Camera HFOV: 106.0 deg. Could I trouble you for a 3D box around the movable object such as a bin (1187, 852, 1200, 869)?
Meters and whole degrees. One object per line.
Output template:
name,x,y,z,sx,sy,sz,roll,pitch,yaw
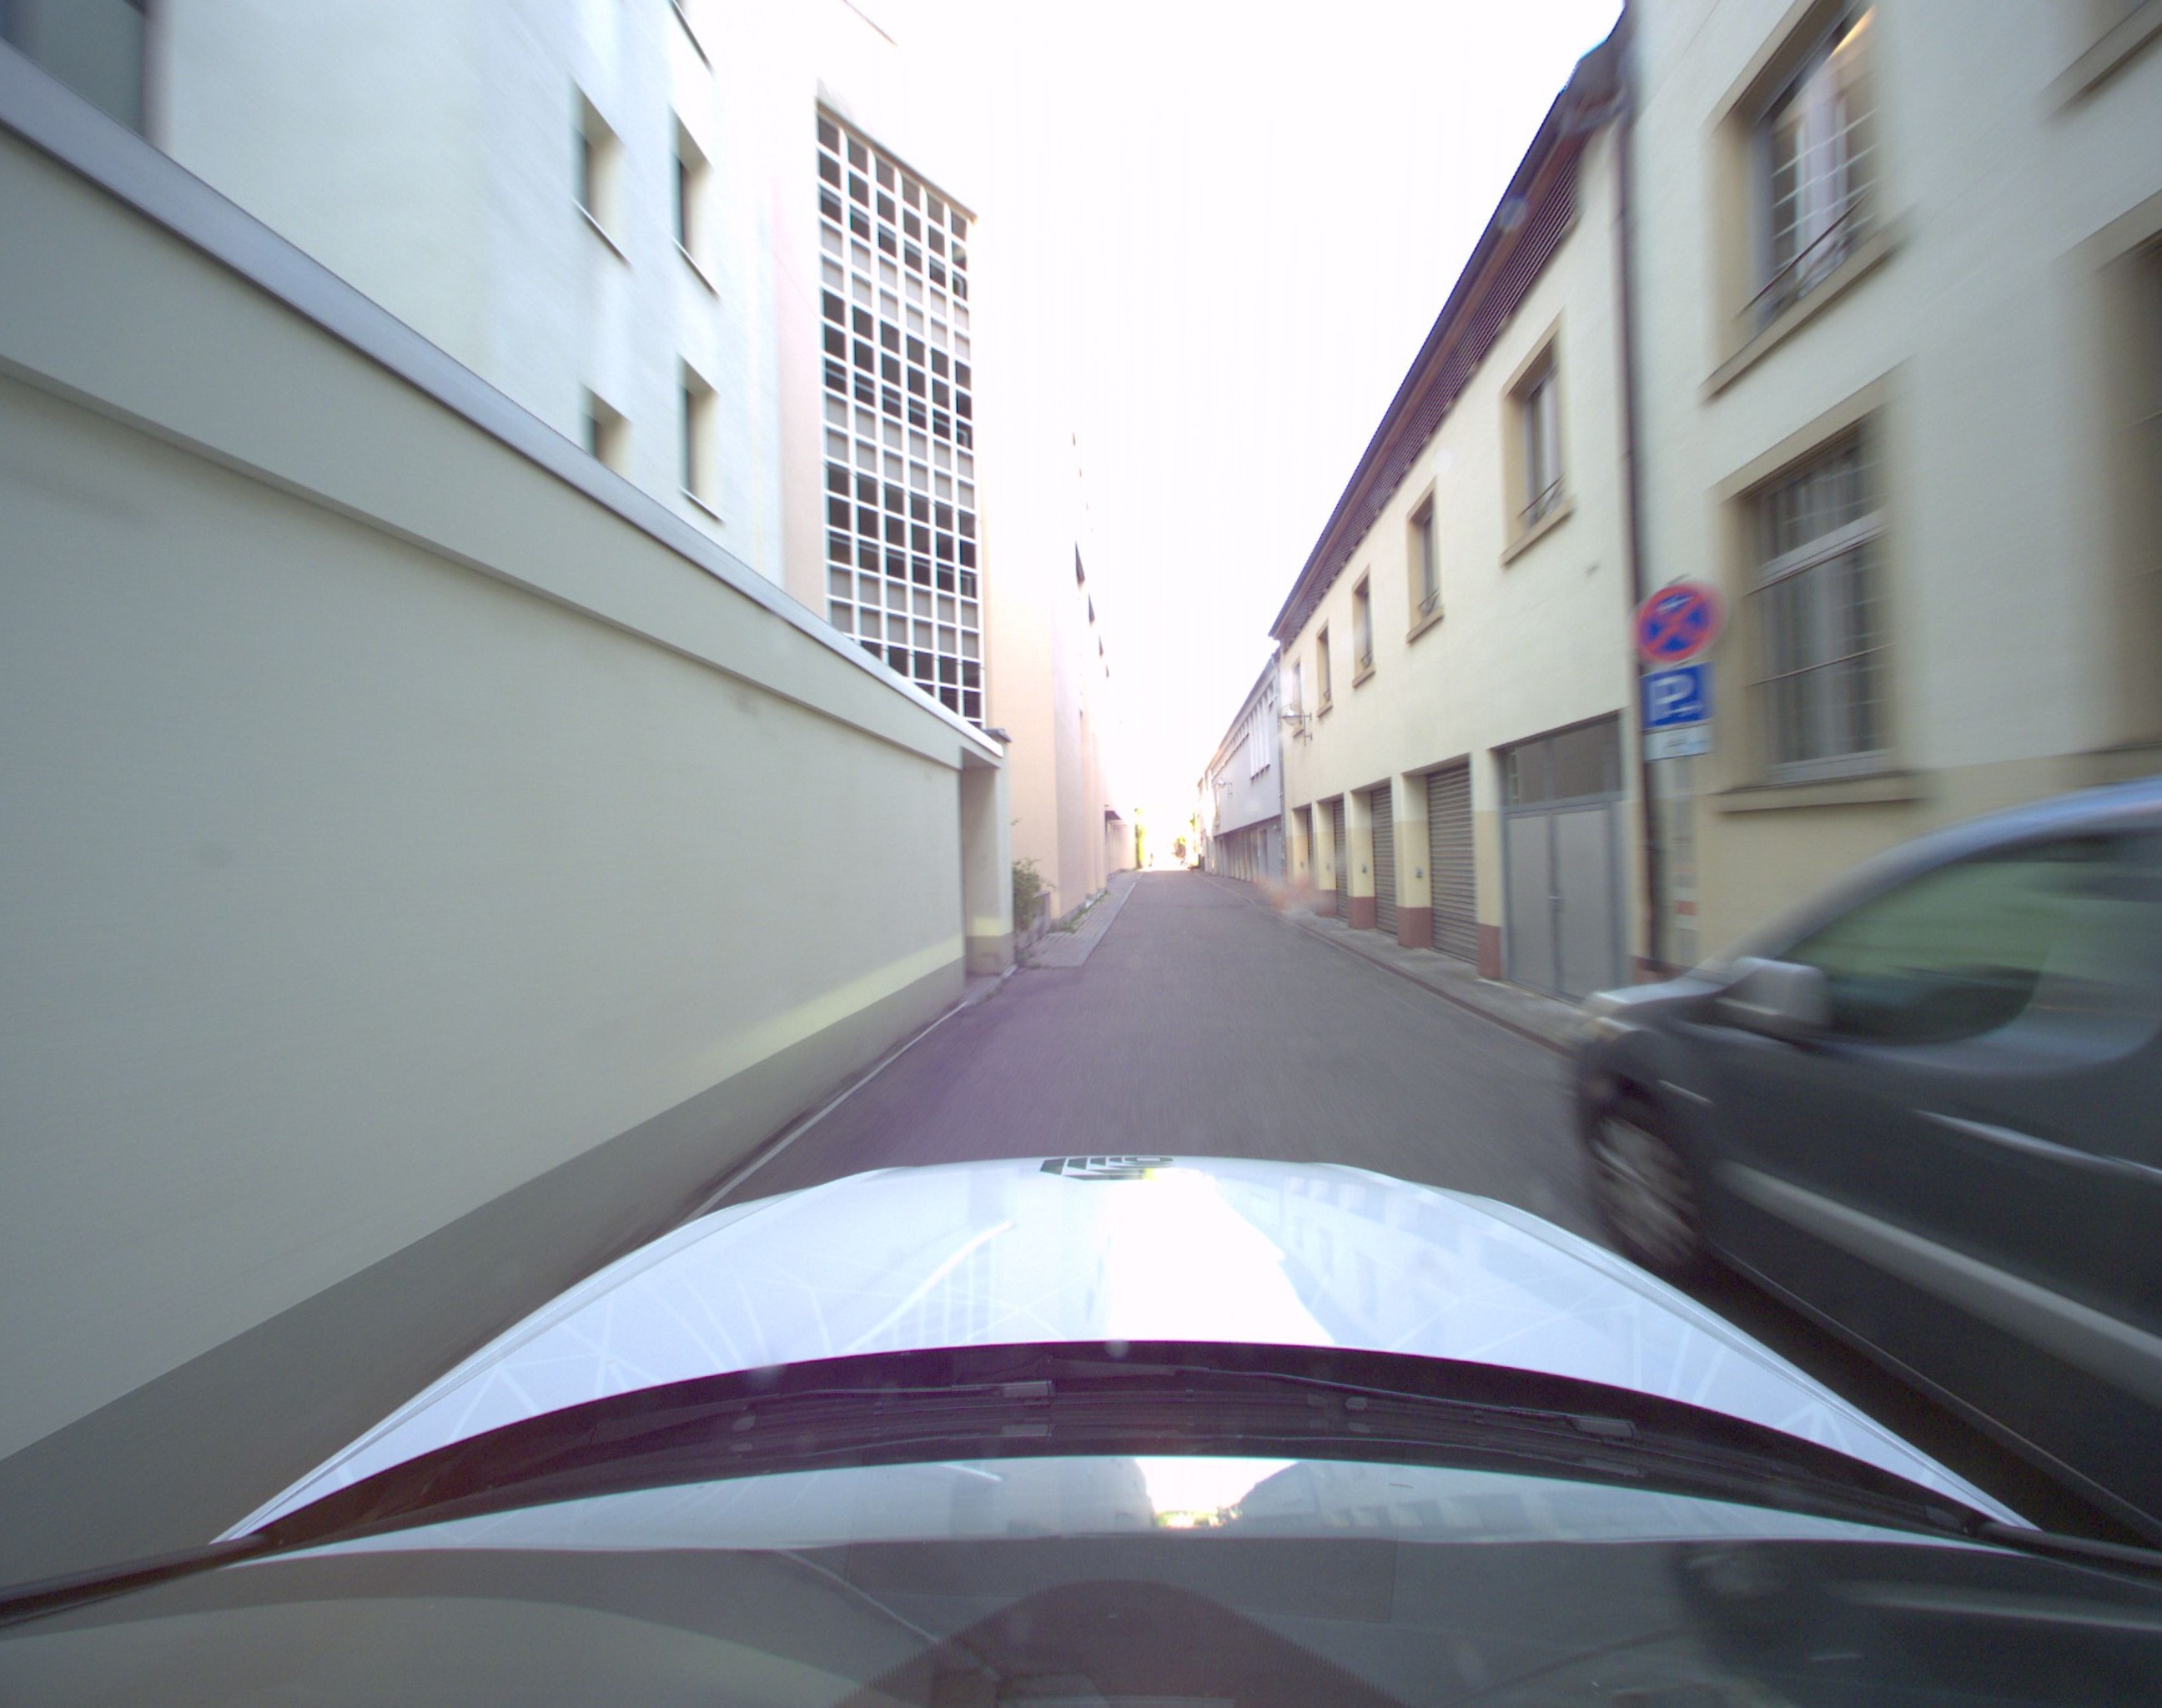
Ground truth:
movable object such as a bin,10.164,0.609,73.809,1.101,1.436,1.416,-2,2,6

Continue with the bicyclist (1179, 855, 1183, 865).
bicyclist,13.283,0.769,108.233,0.509,1.322,0.560,-1,0,8

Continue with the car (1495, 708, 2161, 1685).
car,2.865,0.598,1.829,1.848,1.756,4.164,-1,0,2

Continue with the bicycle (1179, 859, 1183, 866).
bicycle,13.281,1.091,108.188,0.440,0.915,1.520,-1,0,9
